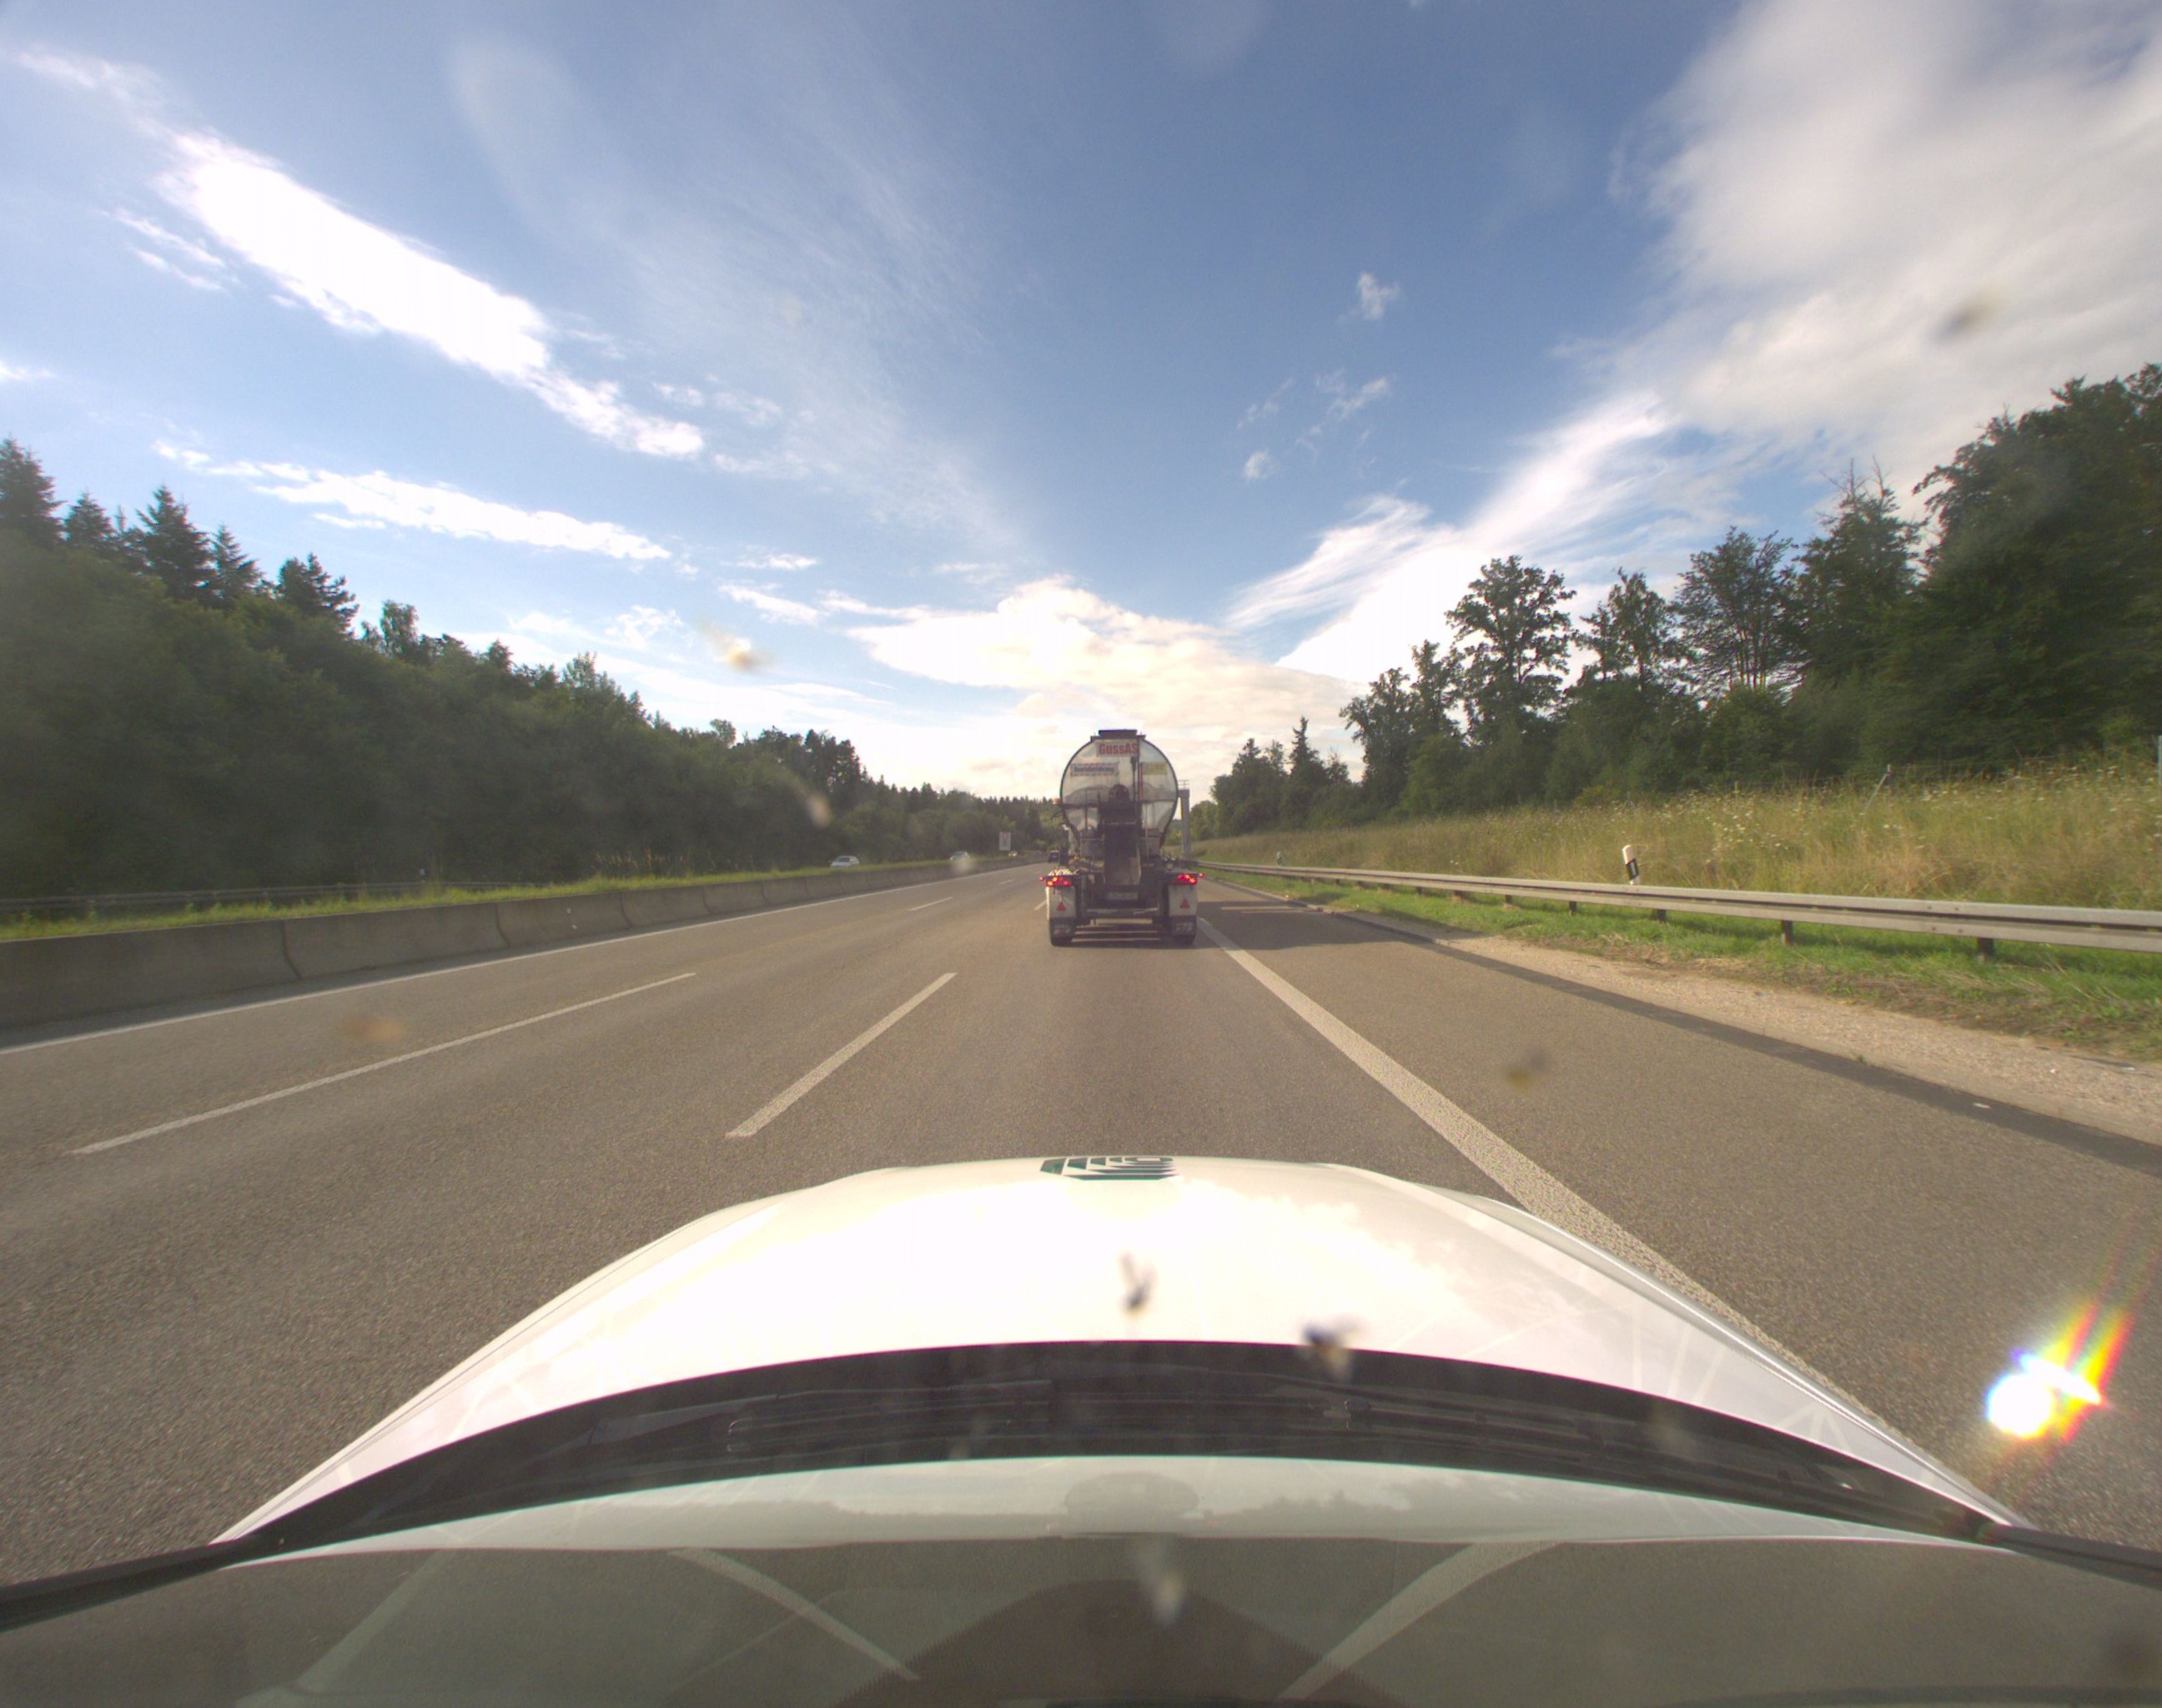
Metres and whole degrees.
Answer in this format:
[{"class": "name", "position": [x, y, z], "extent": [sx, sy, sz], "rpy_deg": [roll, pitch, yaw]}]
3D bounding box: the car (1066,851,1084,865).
[{"class": "car", "position": [-0.645, 0.413, 88.806], "extent": [1.828, 1.517, 4.335], "rpy_deg": [-1, 0, 2]}]

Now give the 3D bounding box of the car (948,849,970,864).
[{"class": "car", "position": [-15.091, 0.315, 100.847], "extent": [1.899, 1.717, 4.002], "rpy_deg": [-1, 0, 2]}]

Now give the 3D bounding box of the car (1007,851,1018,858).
[{"class": "car", "position": [-15.561, 0.111, 185.306], "extent": [1.942, 1.539, 4.329], "rpy_deg": [-1, 0, 2]}]

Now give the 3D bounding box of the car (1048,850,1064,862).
[{"class": "car", "position": [-3.411, 0.303, 109.972], "extent": [1.828, 1.517, 4.335], "rpy_deg": [-1, 0, 2]}]

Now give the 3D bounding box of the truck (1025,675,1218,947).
[{"class": "truck", "position": [0.847, -0.689, 18.228], "extent": [2.901, 4.157, 11.276], "rpy_deg": [-1, 0, 2]}]

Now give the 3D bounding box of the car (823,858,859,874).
[{"class": "car", "position": [-20.181, 0.973, 68.510], "extent": [1.809, 1.290, 3.546], "rpy_deg": [-1, 0, 2]}]
